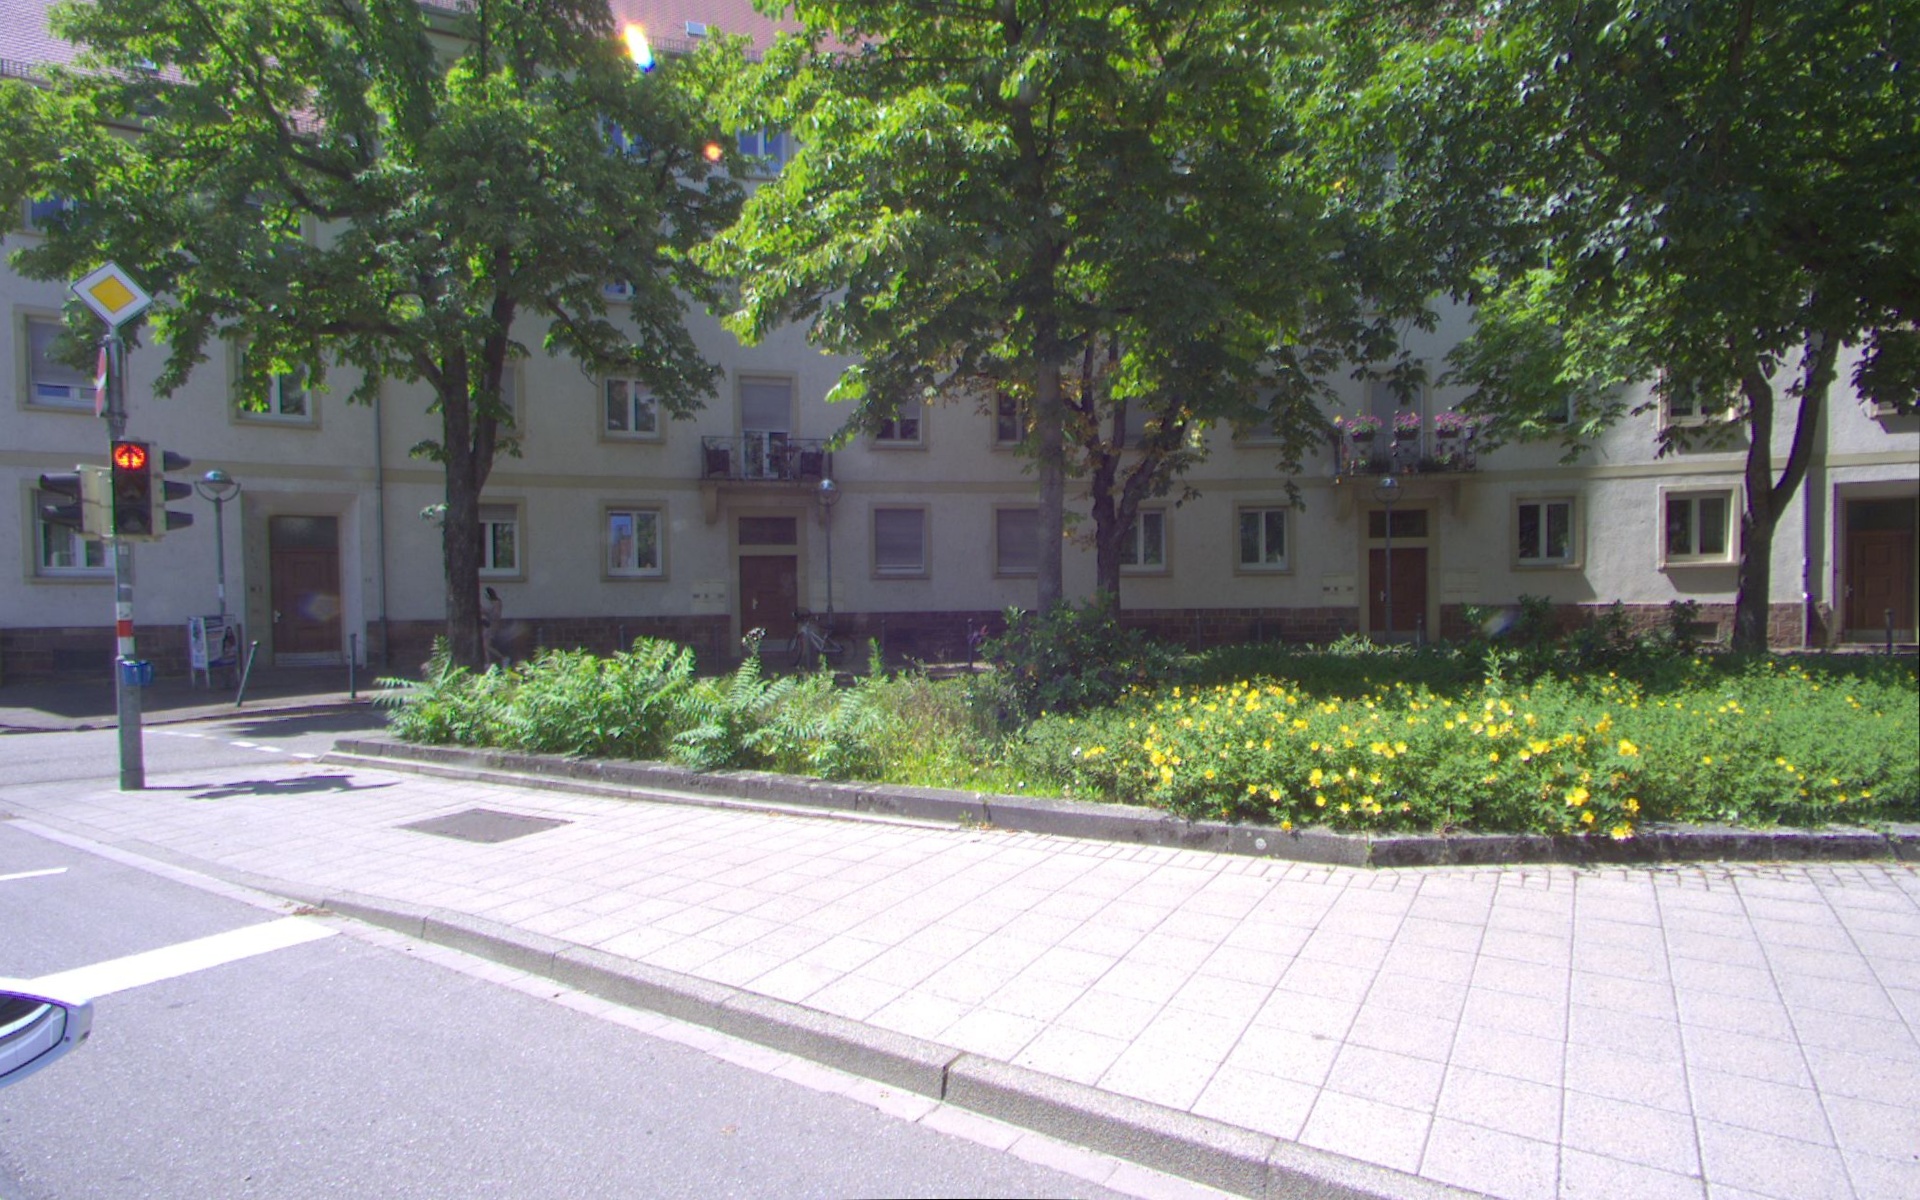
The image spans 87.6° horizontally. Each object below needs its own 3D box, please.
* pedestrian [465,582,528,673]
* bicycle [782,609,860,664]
[{"bbox_3d":[-9.368,0.544,20.265,1.040,1.715,0.650,-4,7,-23],"label":"pedestrian"},{"bbox_3d":[-2.884,0.757,20.867,1.575,1.119,0.525,-1,1,-4],"label":"bicycle"}]
